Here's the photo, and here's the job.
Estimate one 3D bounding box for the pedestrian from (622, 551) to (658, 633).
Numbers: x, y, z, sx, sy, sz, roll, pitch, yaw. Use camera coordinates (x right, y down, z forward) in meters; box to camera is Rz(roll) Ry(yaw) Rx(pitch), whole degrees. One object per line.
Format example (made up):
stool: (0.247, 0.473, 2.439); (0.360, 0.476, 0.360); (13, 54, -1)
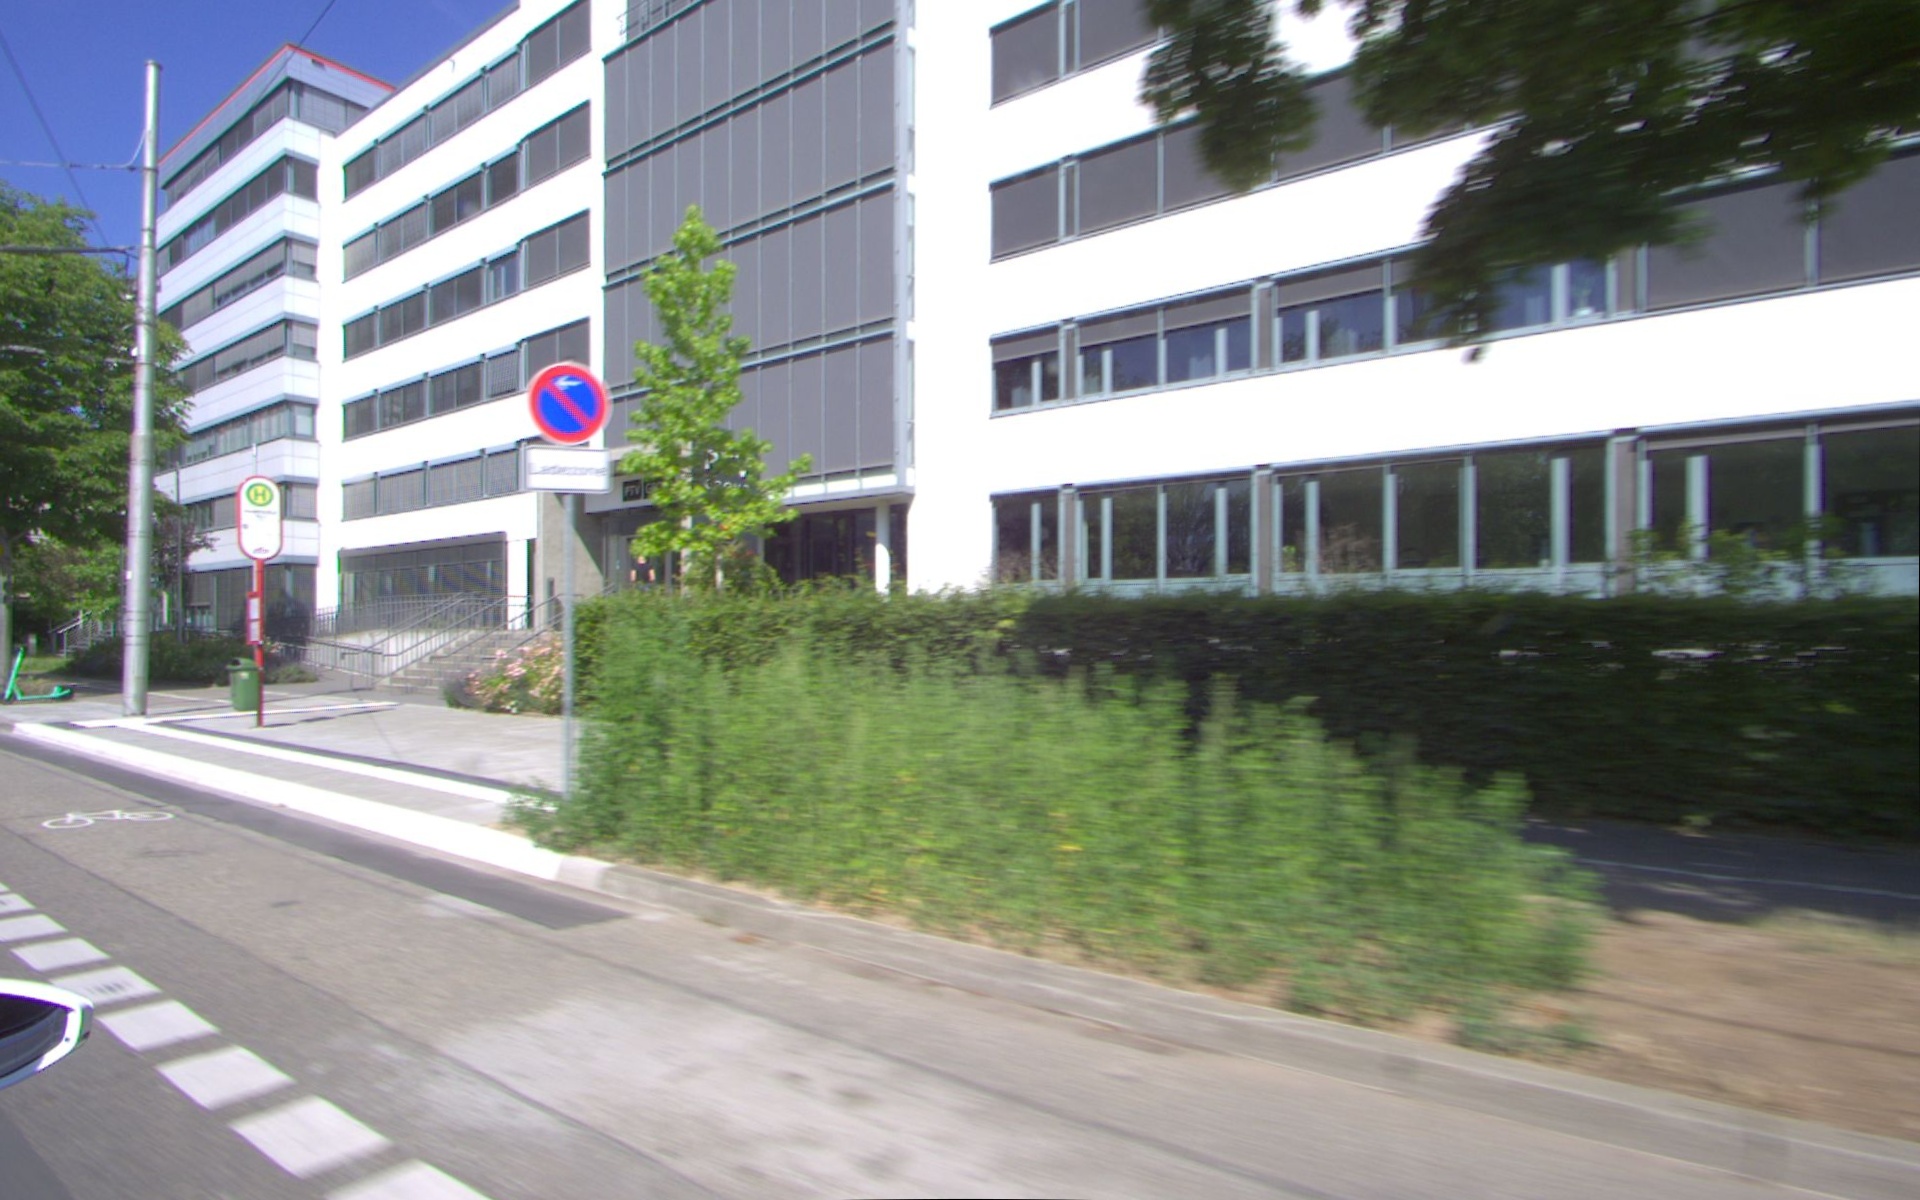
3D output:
pedestrian: (-6.948, -0.163, 21.754); (0.540, 1.750, 0.497); (-1, -2, 37)

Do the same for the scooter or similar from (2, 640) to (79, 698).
scooter or similar: (-19.161, 1.417, 20.874); (0.488, 1.169, 1.137); (-1, -2, 43)
